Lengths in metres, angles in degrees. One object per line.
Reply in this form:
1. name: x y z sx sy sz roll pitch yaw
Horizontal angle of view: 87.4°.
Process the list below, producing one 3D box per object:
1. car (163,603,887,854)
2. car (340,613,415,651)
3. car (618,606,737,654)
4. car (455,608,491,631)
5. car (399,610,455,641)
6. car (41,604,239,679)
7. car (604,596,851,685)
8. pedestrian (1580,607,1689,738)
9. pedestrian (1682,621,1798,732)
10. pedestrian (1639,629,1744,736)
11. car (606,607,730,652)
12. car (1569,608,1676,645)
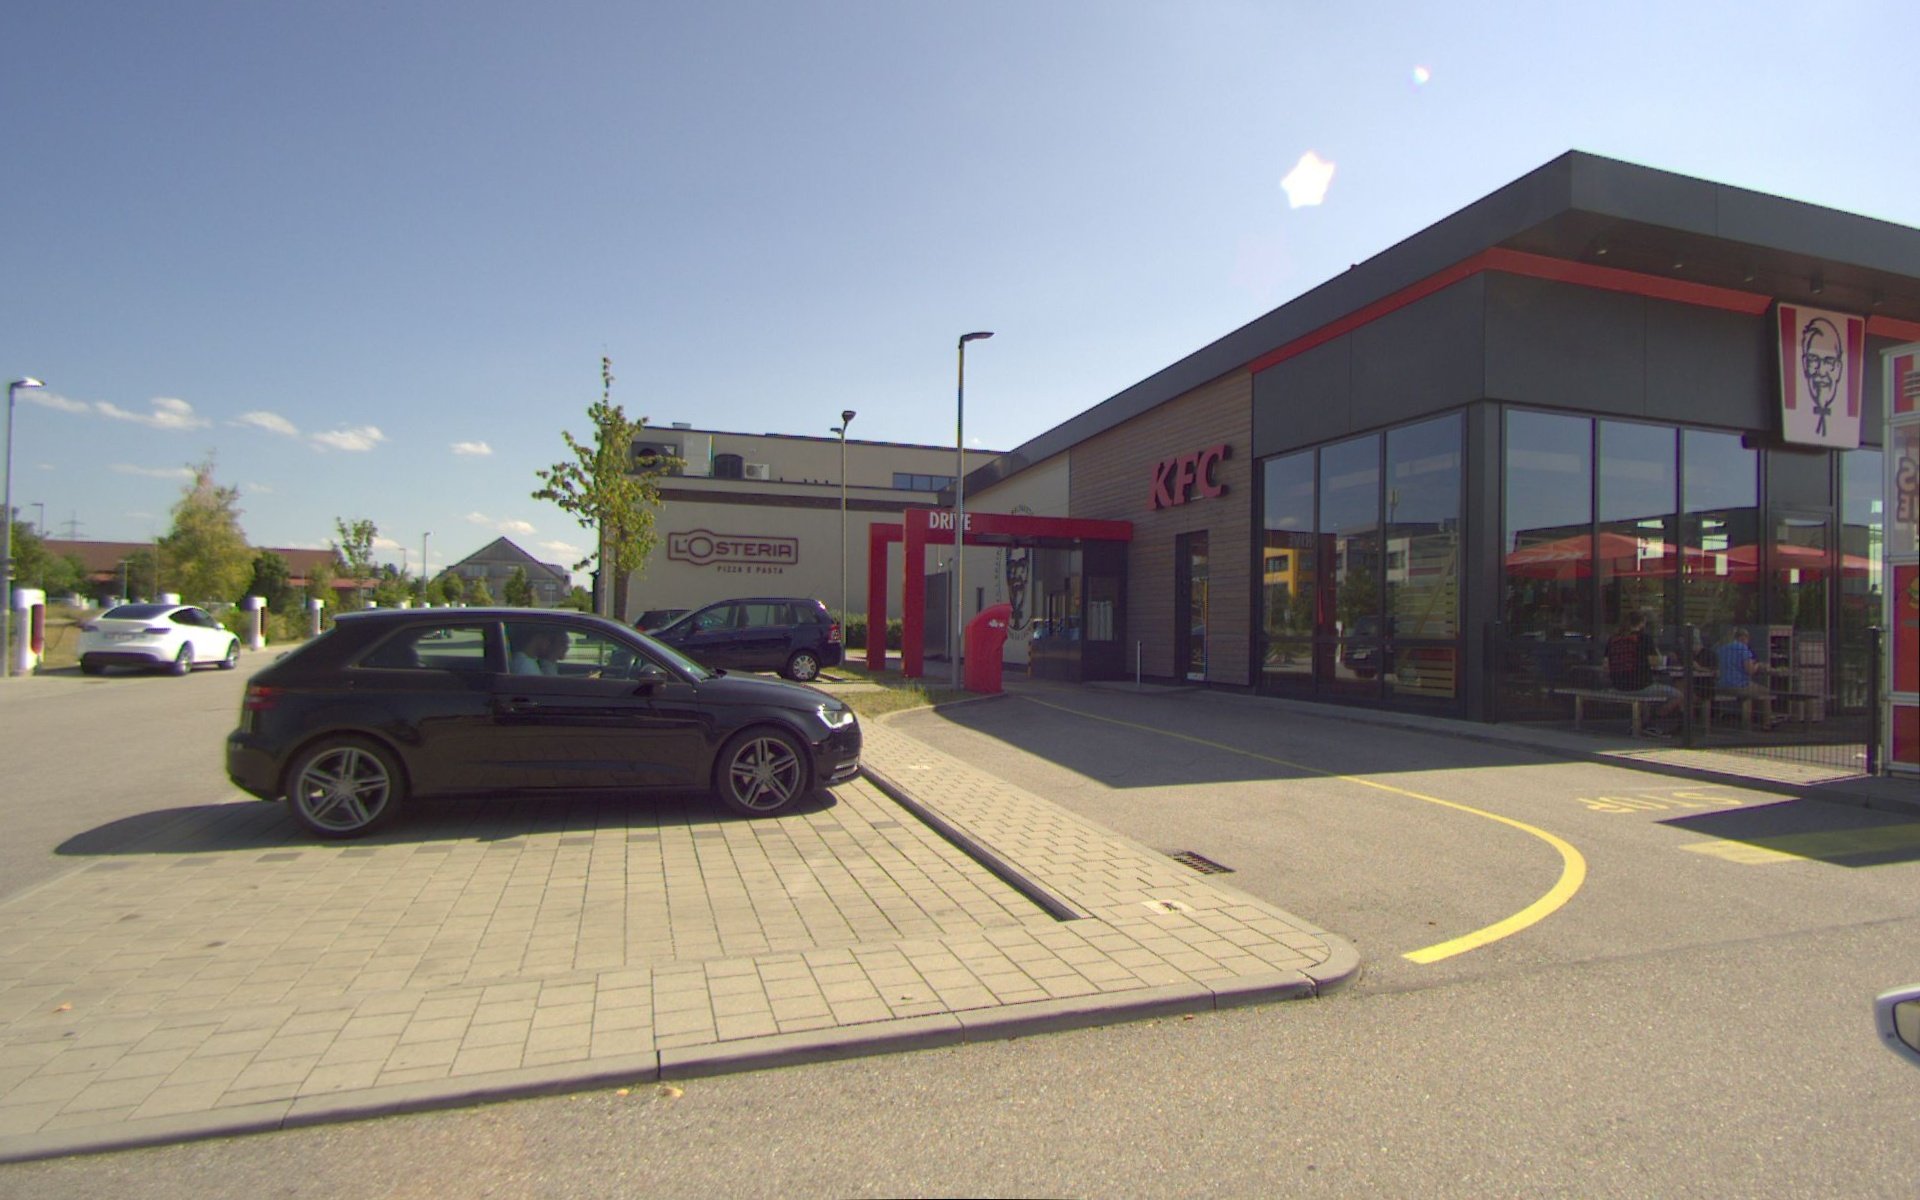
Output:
1. car: -2.808 0.782 7.259 4.249 1.430 1.722 1 -1 -20
2. car: -25.597 1.378 44.301 2.038 1.528 3.983 3 -1 -19
3. car: -10.086 1.072 35.808 3.939 1.630 1.781 1 0 -20
4. car: -34.675 1.392 71.621 1.784 1.528 3.983 2 -1 -19
5. car: -29.284 1.382 55.332 2.038 1.528 3.983 3 -1 -19
6. car: -19.296 0.935 23.940 2.184 1.546 4.414 3 -1 -19
7. car: -4.561 0.762 19.655 4.482 1.590 1.990 1 -1 -21
8. pedestrian: 7.894 0.827 11.776 0.683 1.462 0.794 1 0 -20
9. pedestrian: 9.759 0.938 12.584 0.930 1.330 0.752 1 0 -18
10. pedestrian: 8.739 0.969 12.014 0.684 1.216 0.752 1 0 -18
11. car: -11.053 1.114 37.996 4.379 1.630 1.781 1 0 -20
12. car: 33.335 1.337 50.578 4.251 1.725 1.894 2 -1 -6
